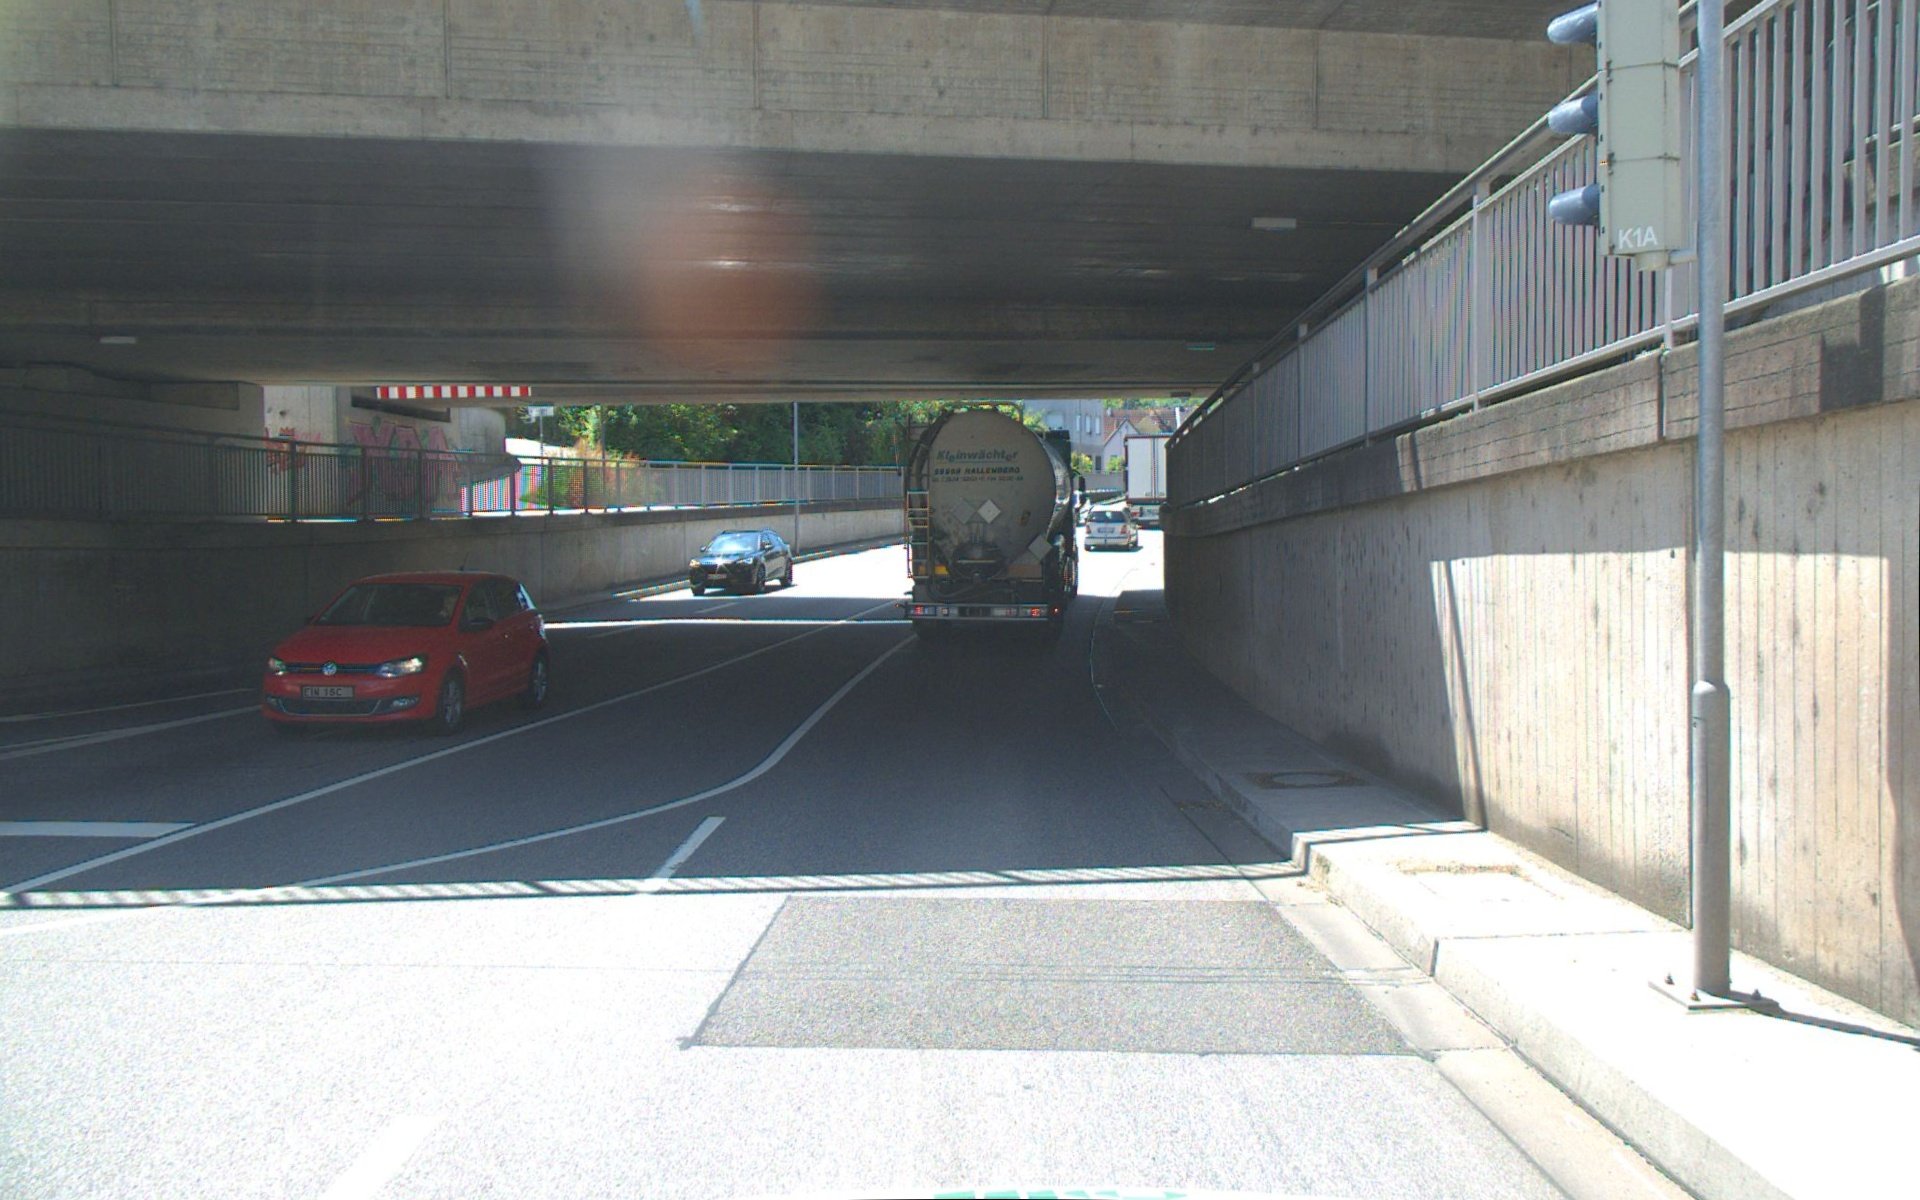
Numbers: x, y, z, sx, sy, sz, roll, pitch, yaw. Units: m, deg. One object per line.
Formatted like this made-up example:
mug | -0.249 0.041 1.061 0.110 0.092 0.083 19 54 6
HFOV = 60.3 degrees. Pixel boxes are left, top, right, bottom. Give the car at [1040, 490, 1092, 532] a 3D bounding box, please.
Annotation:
car | 4.879 -4.101 75.896 1.754 1.712 4.006 2 6 12

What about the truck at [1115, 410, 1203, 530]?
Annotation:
truck | 9.232 -5.893 75.649 3.015 5.085 10.096 1 4 12

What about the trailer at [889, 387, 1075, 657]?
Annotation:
trailer | 0.787 -1.576 32.088 2.677 4.134 13.326 0 3 5

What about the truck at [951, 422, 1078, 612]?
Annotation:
truck | 1.409 -2.003 39.445 2.677 4.134 6.535 0 3 5

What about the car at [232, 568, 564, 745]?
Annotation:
car | -5.285 0.443 16.107 1.706 1.490 3.827 0 1 4

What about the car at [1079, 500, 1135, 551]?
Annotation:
car | 5.342 -2.722 59.695 1.842 1.667 4.006 1 5 7

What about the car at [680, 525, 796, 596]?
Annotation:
car | -5.632 -1.058 42.447 1.857 1.556 4.005 -2 4 9
